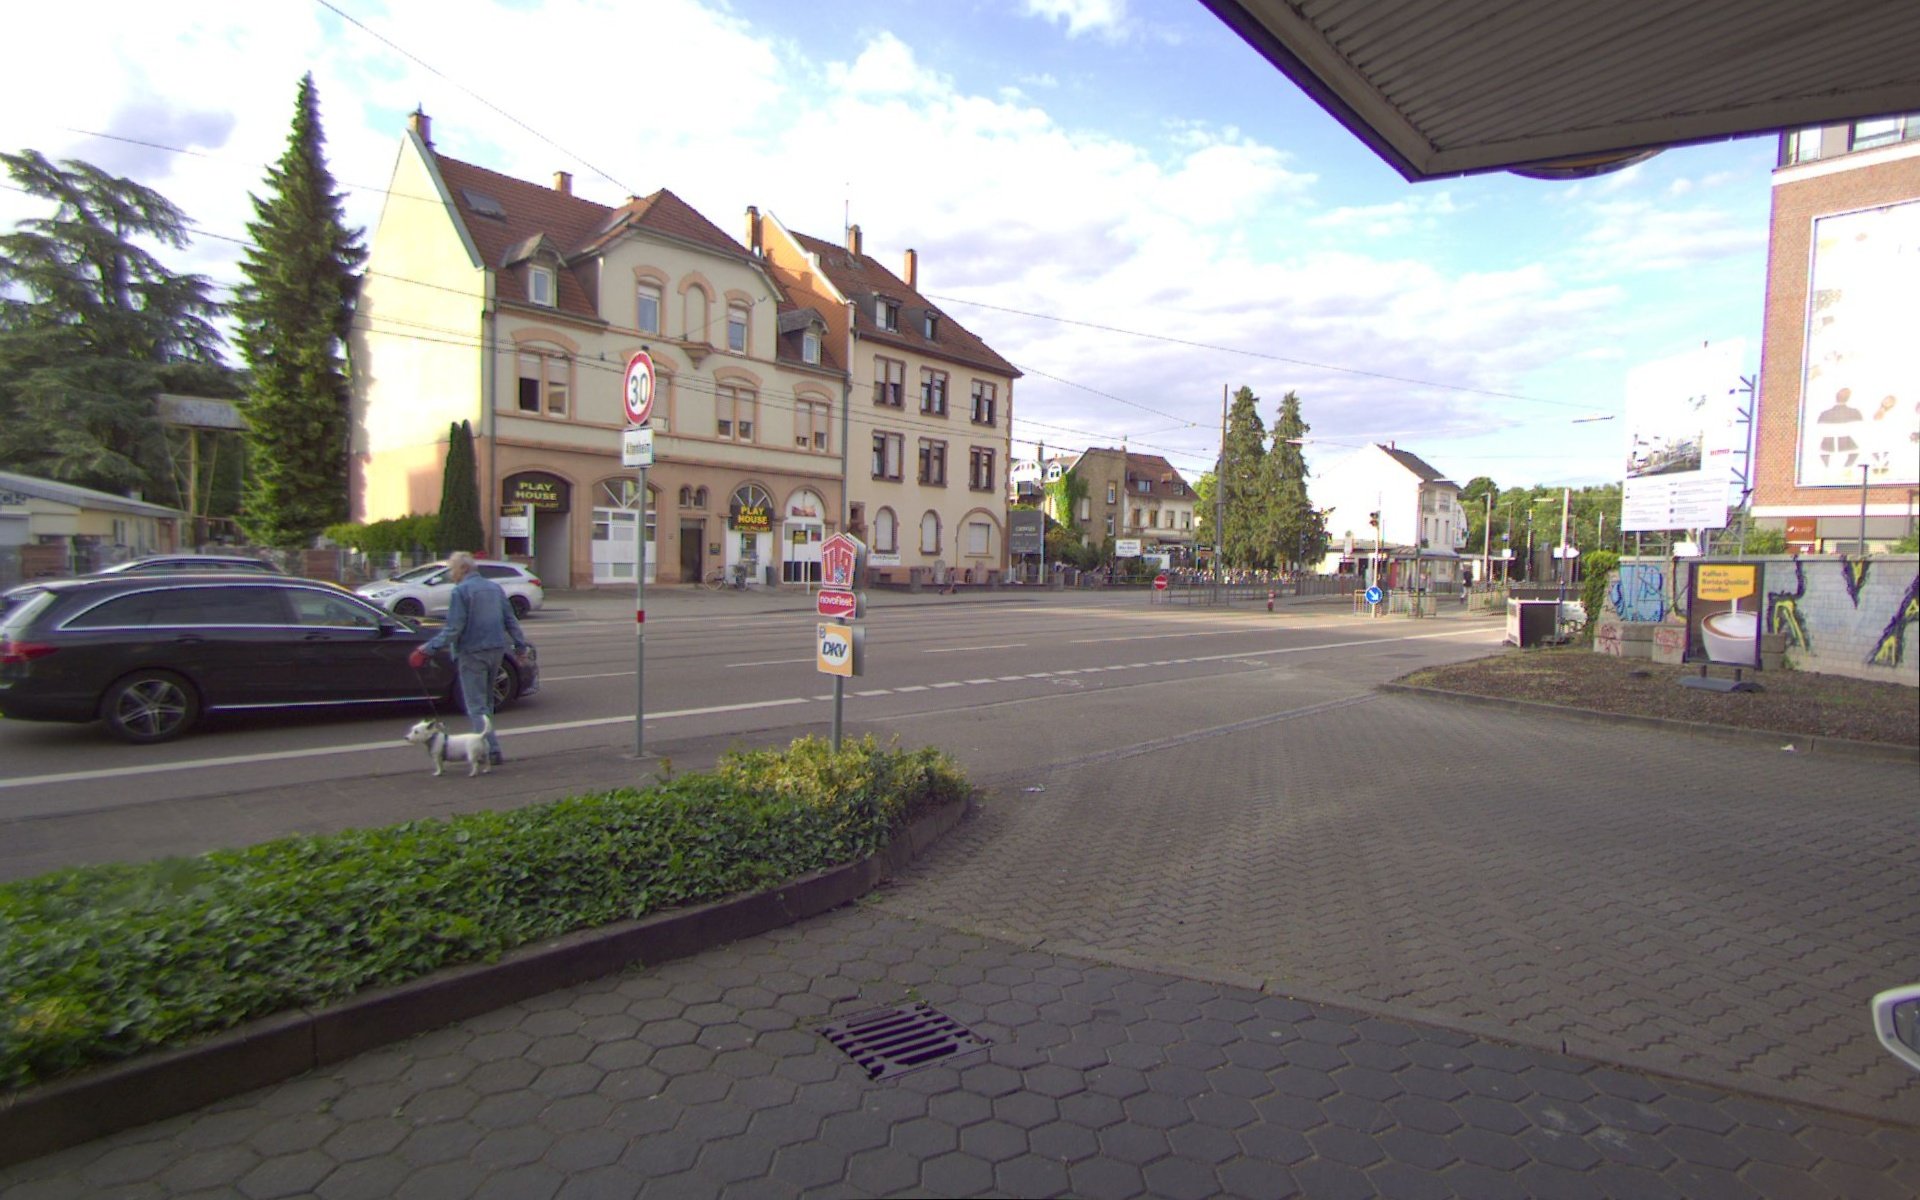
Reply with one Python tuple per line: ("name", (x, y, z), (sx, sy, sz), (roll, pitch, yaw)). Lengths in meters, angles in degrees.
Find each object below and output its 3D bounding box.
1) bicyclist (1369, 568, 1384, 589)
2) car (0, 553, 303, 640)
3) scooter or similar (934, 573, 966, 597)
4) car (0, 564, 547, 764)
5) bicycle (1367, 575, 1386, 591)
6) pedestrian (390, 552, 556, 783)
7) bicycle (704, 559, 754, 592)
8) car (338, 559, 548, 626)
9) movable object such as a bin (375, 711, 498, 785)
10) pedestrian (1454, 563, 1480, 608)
("bicyclist", (31.526, -1.642, 76.030), (0.671, 1.555, 1.079), (2, 2, 42))
("car", (-16.602, -0.136, 20.730), (1.983, 1.520, 4.755), (4, 4, 39))
("scooter or similar", (-0.438, -0.663, 45.107), (0.461, 1.041, 1.655), (4, 3, 40))
("car", (-6.766, 0.469, 10.081), (1.730, 1.488, 4.543), (7, 5, 43))
("bicycle", (31.525, -1.296, 76.034), (0.671, 1.239, 1.909), (2, 2, 42))
("pedestrian", (-3.934, 0.482, 8.108), (0.996, 1.690, 0.959), (-1, 4, -41))
("bicycle", (-9.109, -0.952, 39.606), (0.665, 1.229, 1.862), (4, 2, 41))
("car", (-12.922, -0.232, 25.352), (1.699, 1.503, 4.434), (4, 4, 40))
("movable object such as a bin", (-3.926, 1.100, 7.552), (0.666, 0.426, 0.481), (2, 3, 10))
("pedestrian", (23.493, -0.663, 46.564), (0.844, 2.040, 0.799), (2, 0, -42))
